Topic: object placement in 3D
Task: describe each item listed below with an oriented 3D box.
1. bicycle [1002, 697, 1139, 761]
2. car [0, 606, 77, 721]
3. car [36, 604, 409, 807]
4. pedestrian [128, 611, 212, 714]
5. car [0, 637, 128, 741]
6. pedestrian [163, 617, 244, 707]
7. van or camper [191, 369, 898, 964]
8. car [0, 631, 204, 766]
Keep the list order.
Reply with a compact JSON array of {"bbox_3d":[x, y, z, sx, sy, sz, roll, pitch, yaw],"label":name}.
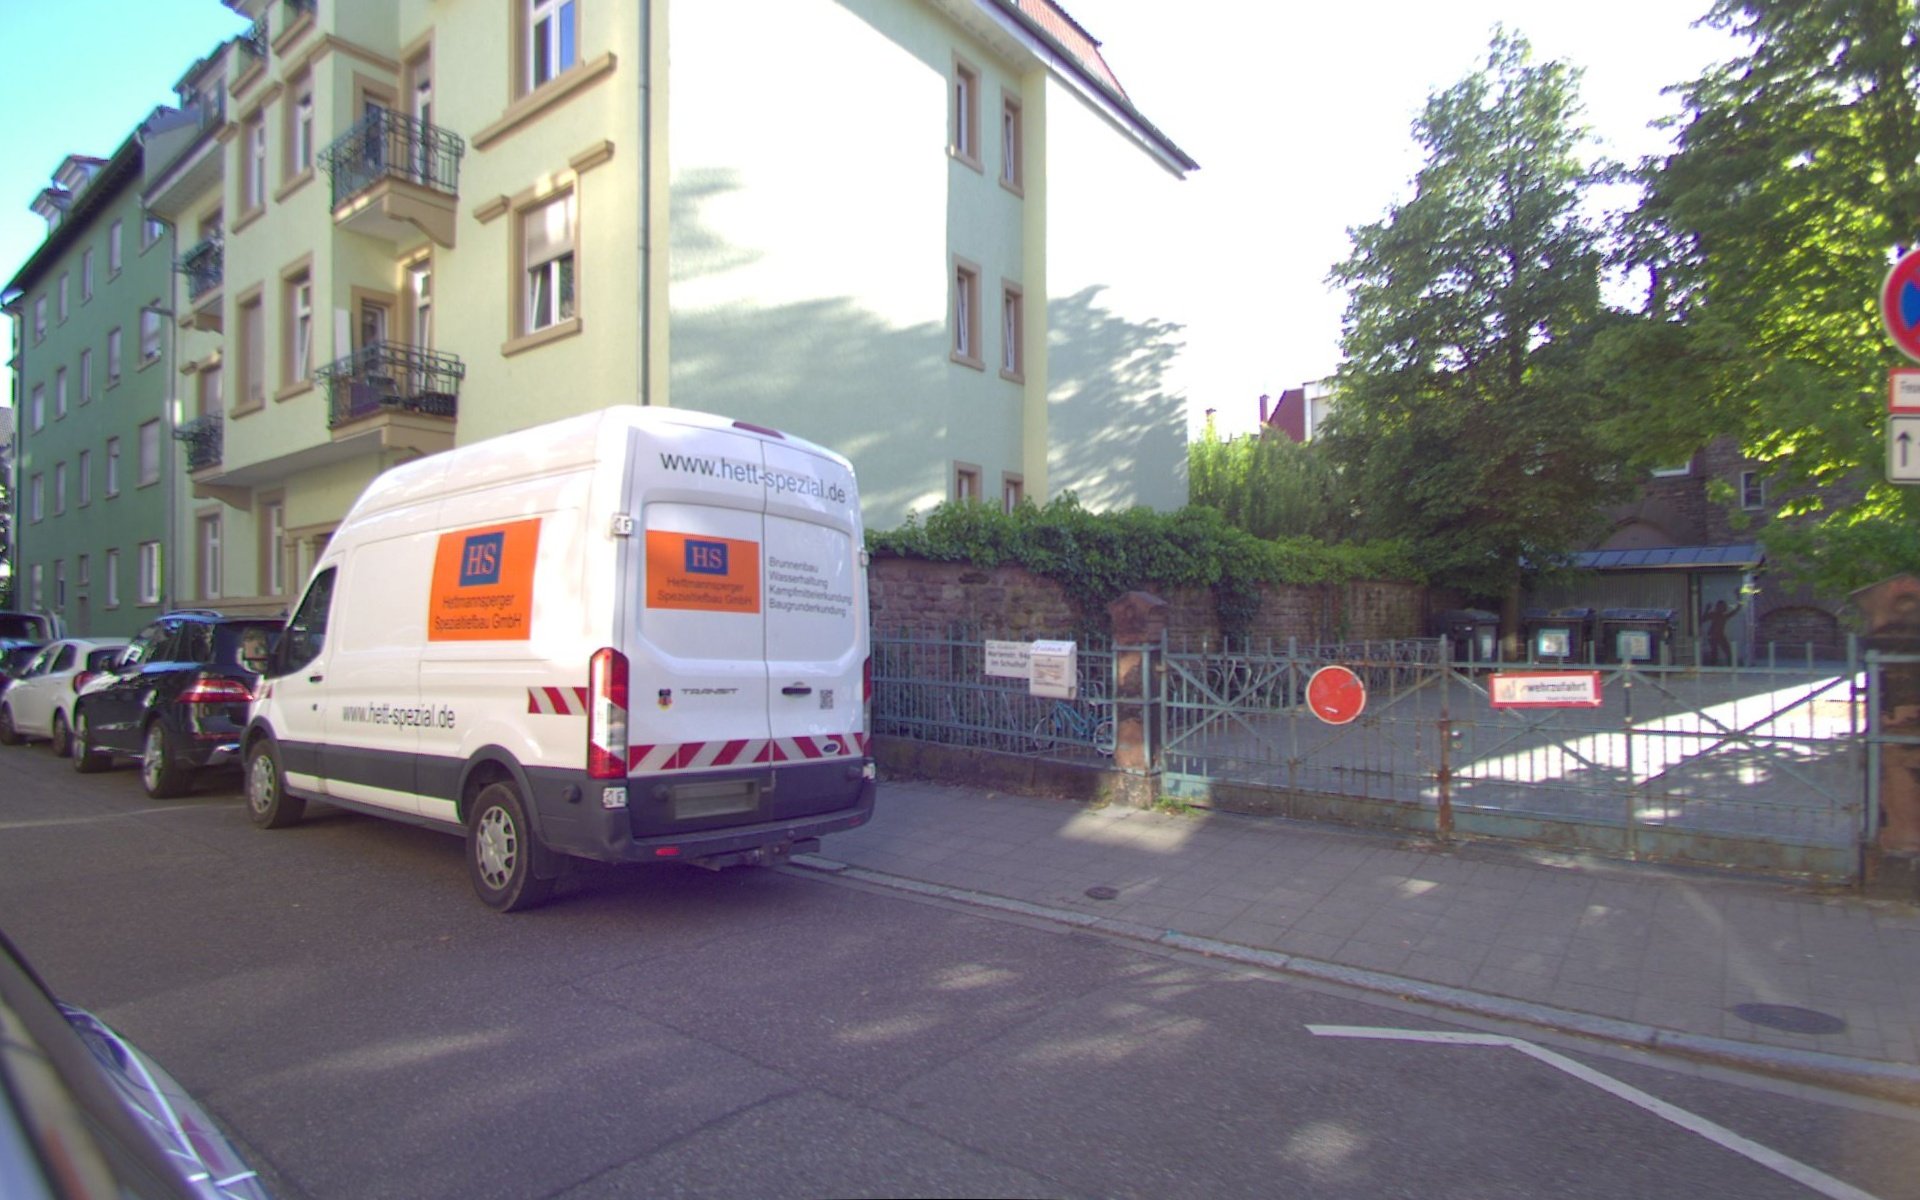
[{"bbox_3d":[1.133,1.329,10.574,1.431,0.545,0.401,-2,-1,40],"label":"bicycle"},{"bbox_3d":[-20.355,1.254,20.726,5.233,2.185,2.231,-1,-4,36],"label":"car"},{"bbox_3d":[-7.997,1.001,10.787,4.962,1.698,1.857,-2,-4,38],"label":"car"},{"bbox_3d":[-14.967,1.152,19.171,1.241,1.875,0.983,-2,-2,37],"label":"pedestrian"},{"bbox_3d":[-15.668,1.403,16.897,4.818,1.533,1.749,-2,-3,38],"label":"car"},{"bbox_3d":[-14.979,1.202,20.040,1.241,1.688,0.983,-2,-1,37],"label":"pedestrian"},{"bbox_3d":[-3.350,0.418,7.403,5.843,2.790,2.108,-2,-4,38],"label":"van or camper"},{"bbox_3d":[-12.025,1.228,13.849,4.082,1.564,1.620,-1,-3,37],"label":"car"}]
